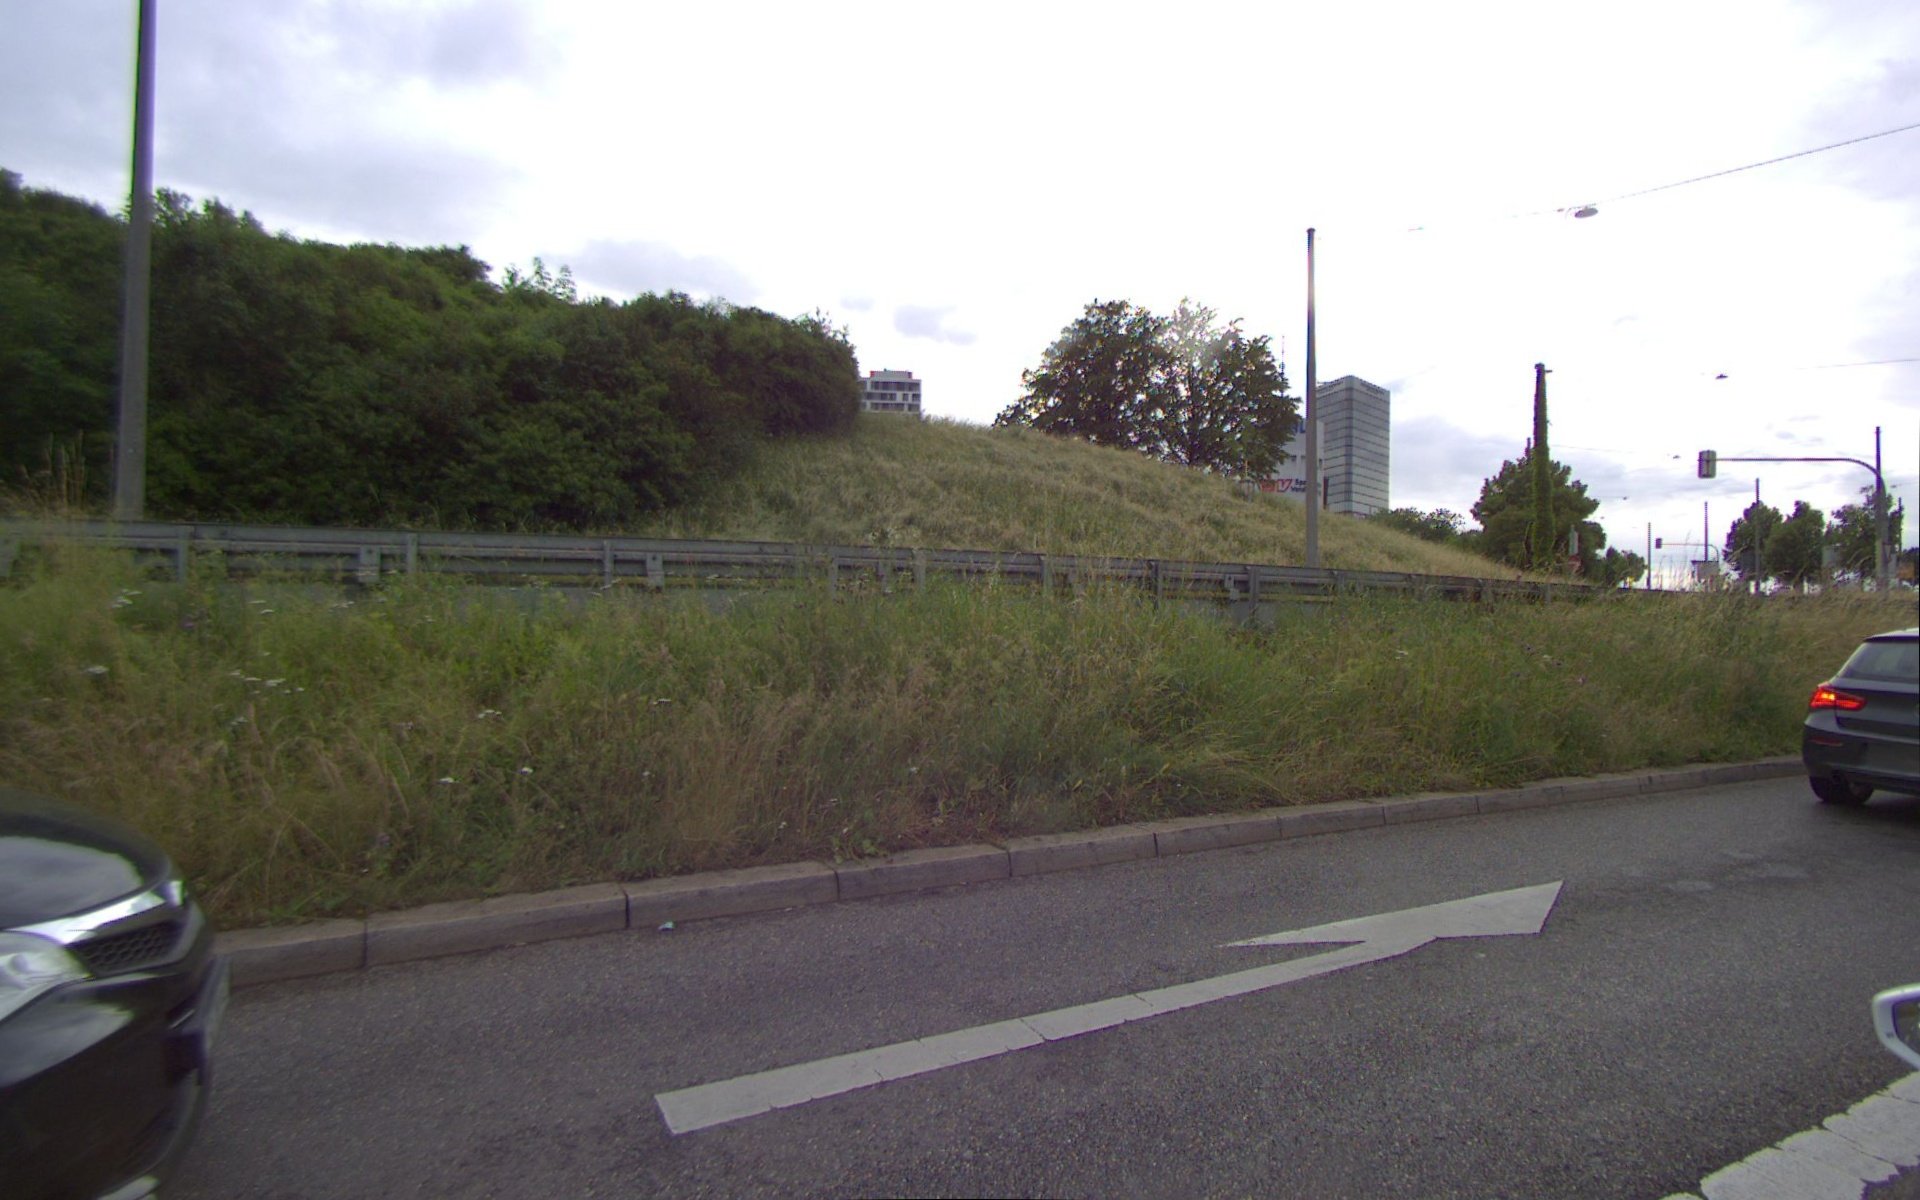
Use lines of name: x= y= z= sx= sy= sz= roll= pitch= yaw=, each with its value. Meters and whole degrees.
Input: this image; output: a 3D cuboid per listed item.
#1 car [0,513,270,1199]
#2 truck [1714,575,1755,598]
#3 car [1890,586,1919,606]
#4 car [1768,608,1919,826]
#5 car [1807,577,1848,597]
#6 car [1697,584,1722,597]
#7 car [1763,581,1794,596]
car: x=-3.298 y=0.591 z=1.389 sx=3.735 sy=1.524 sz=1.633 roll=1 pitch=1 yaw=-31
truck: x=114.544 y=-2.058 z=148.635 sx=3.206 sy=3.116 sz=6.171 roll=4 pitch=3 yaw=23
car: x=78.146 y=-0.295 z=82.011 sx=1.962 sy=1.497 sz=4.417 roll=2 pitch=-1 yaw=25
car: x=8.343 y=0.825 z=7.724 sx=4.058 sy=1.479 sz=1.698 roll=1 pitch=-1 yaw=-25
car: x=91.473 y=-1.357 z=105.957 sx=2.096 sy=1.818 sz=4.736 roll=2 pitch=-1 yaw=26
car: x=106.843 y=-1.318 z=143.152 sx=1.962 sy=1.681 sz=4.350 roll=2 pitch=-1 yaw=25
car: x=102.626 y=-1.483 z=126.007 sx=1.962 sy=1.681 sz=4.541 roll=2 pitch=-1 yaw=25
